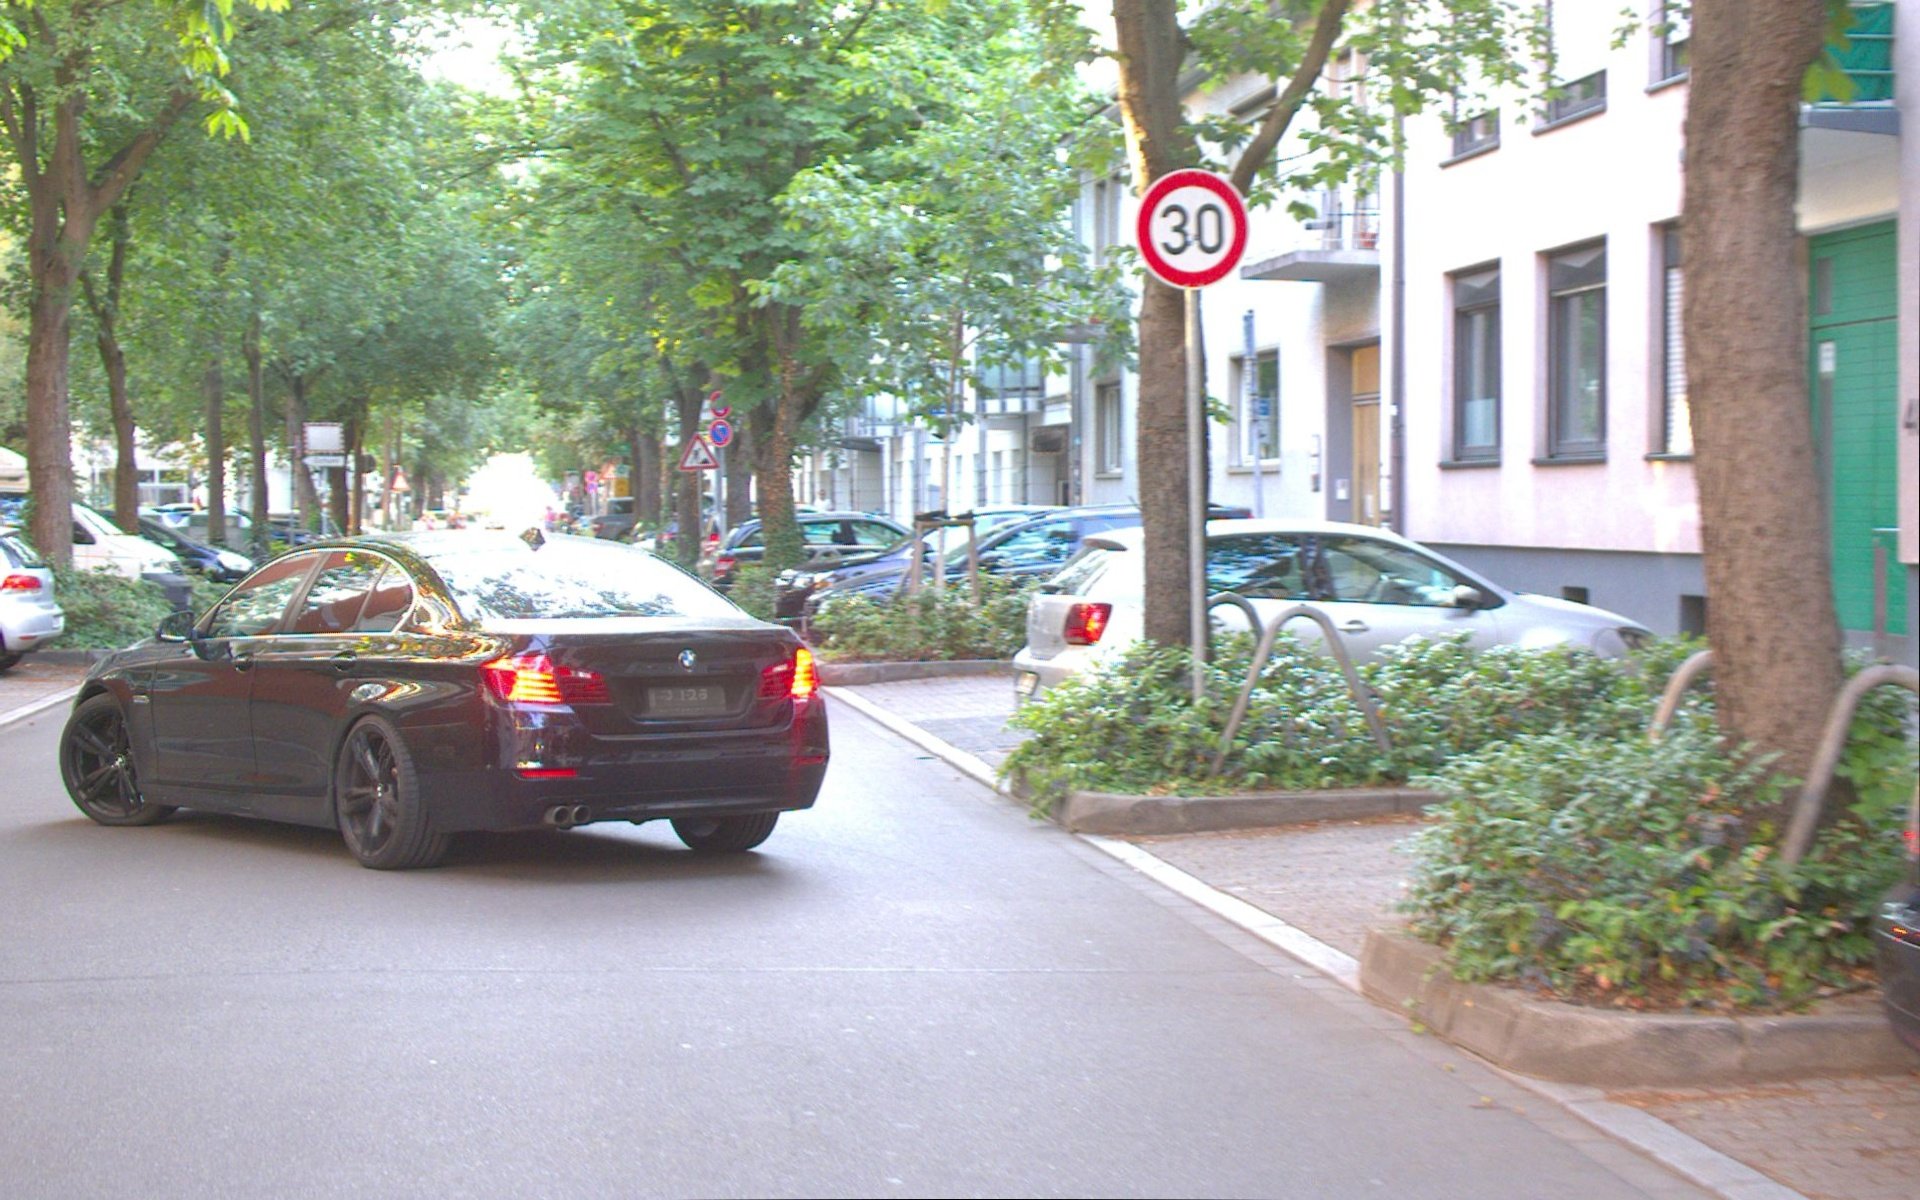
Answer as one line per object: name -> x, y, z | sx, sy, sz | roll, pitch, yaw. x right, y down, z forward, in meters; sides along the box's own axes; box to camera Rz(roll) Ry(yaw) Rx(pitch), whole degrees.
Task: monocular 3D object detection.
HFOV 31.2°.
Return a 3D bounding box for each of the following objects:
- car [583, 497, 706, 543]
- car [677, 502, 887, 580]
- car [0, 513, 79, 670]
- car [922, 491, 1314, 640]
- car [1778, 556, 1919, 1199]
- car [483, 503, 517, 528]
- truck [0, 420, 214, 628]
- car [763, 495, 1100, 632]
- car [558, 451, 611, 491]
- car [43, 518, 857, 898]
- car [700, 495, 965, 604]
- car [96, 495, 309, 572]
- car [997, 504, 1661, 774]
car -> -9.651, -2.447, 105.064 | 3.656, 1.388, 1.566 | 0, 2, -9
car -> -3.243, -1.082, 62.413 | 3.656, 1.388, 1.566 | 0, 2, -9
car -> -10.725, -0.120, 33.146 | 4.131, 1.466, 1.641 | 1, 2, -7
car -> 1.556, -0.371, 34.433 | 3.656, 1.388, 1.566 | -1, 2, -9
car -> 3.947, 0.550, 7.754 | 3.702, 1.423, 1.628 | -3, 2, -12
car -> -27.042, -4.984, 201.996 | 1.894, 1.470, 4.001 | 0, 2, -6
truck -> -11.667, -0.954, 41.503 | 4.998, 2.432, 1.916 | 1, 3, -6
car -> -0.366, -0.457, 40.869 | 3.791, 1.524, 1.566 | -1, 2, -9
car -> -14.824, -5.084, 135.466 | 1.993, 1.546, 4.001 | 0, 2, -7
car -> -2.508, 0.366, 15.821 | 1.762, 1.445, 4.667 | -1, 2, -36
car -> -1.861, -0.747, 49.543 | 3.656, 1.531, 1.566 | 0, 2, -9
car -> -15.143, -1.334, 68.886 | 4.020, 1.466, 1.641 | 1, 2, -7
car -> 2.167, 0.194, 20.605 | 3.656, 1.474, 1.566 | -1, 2, -9
